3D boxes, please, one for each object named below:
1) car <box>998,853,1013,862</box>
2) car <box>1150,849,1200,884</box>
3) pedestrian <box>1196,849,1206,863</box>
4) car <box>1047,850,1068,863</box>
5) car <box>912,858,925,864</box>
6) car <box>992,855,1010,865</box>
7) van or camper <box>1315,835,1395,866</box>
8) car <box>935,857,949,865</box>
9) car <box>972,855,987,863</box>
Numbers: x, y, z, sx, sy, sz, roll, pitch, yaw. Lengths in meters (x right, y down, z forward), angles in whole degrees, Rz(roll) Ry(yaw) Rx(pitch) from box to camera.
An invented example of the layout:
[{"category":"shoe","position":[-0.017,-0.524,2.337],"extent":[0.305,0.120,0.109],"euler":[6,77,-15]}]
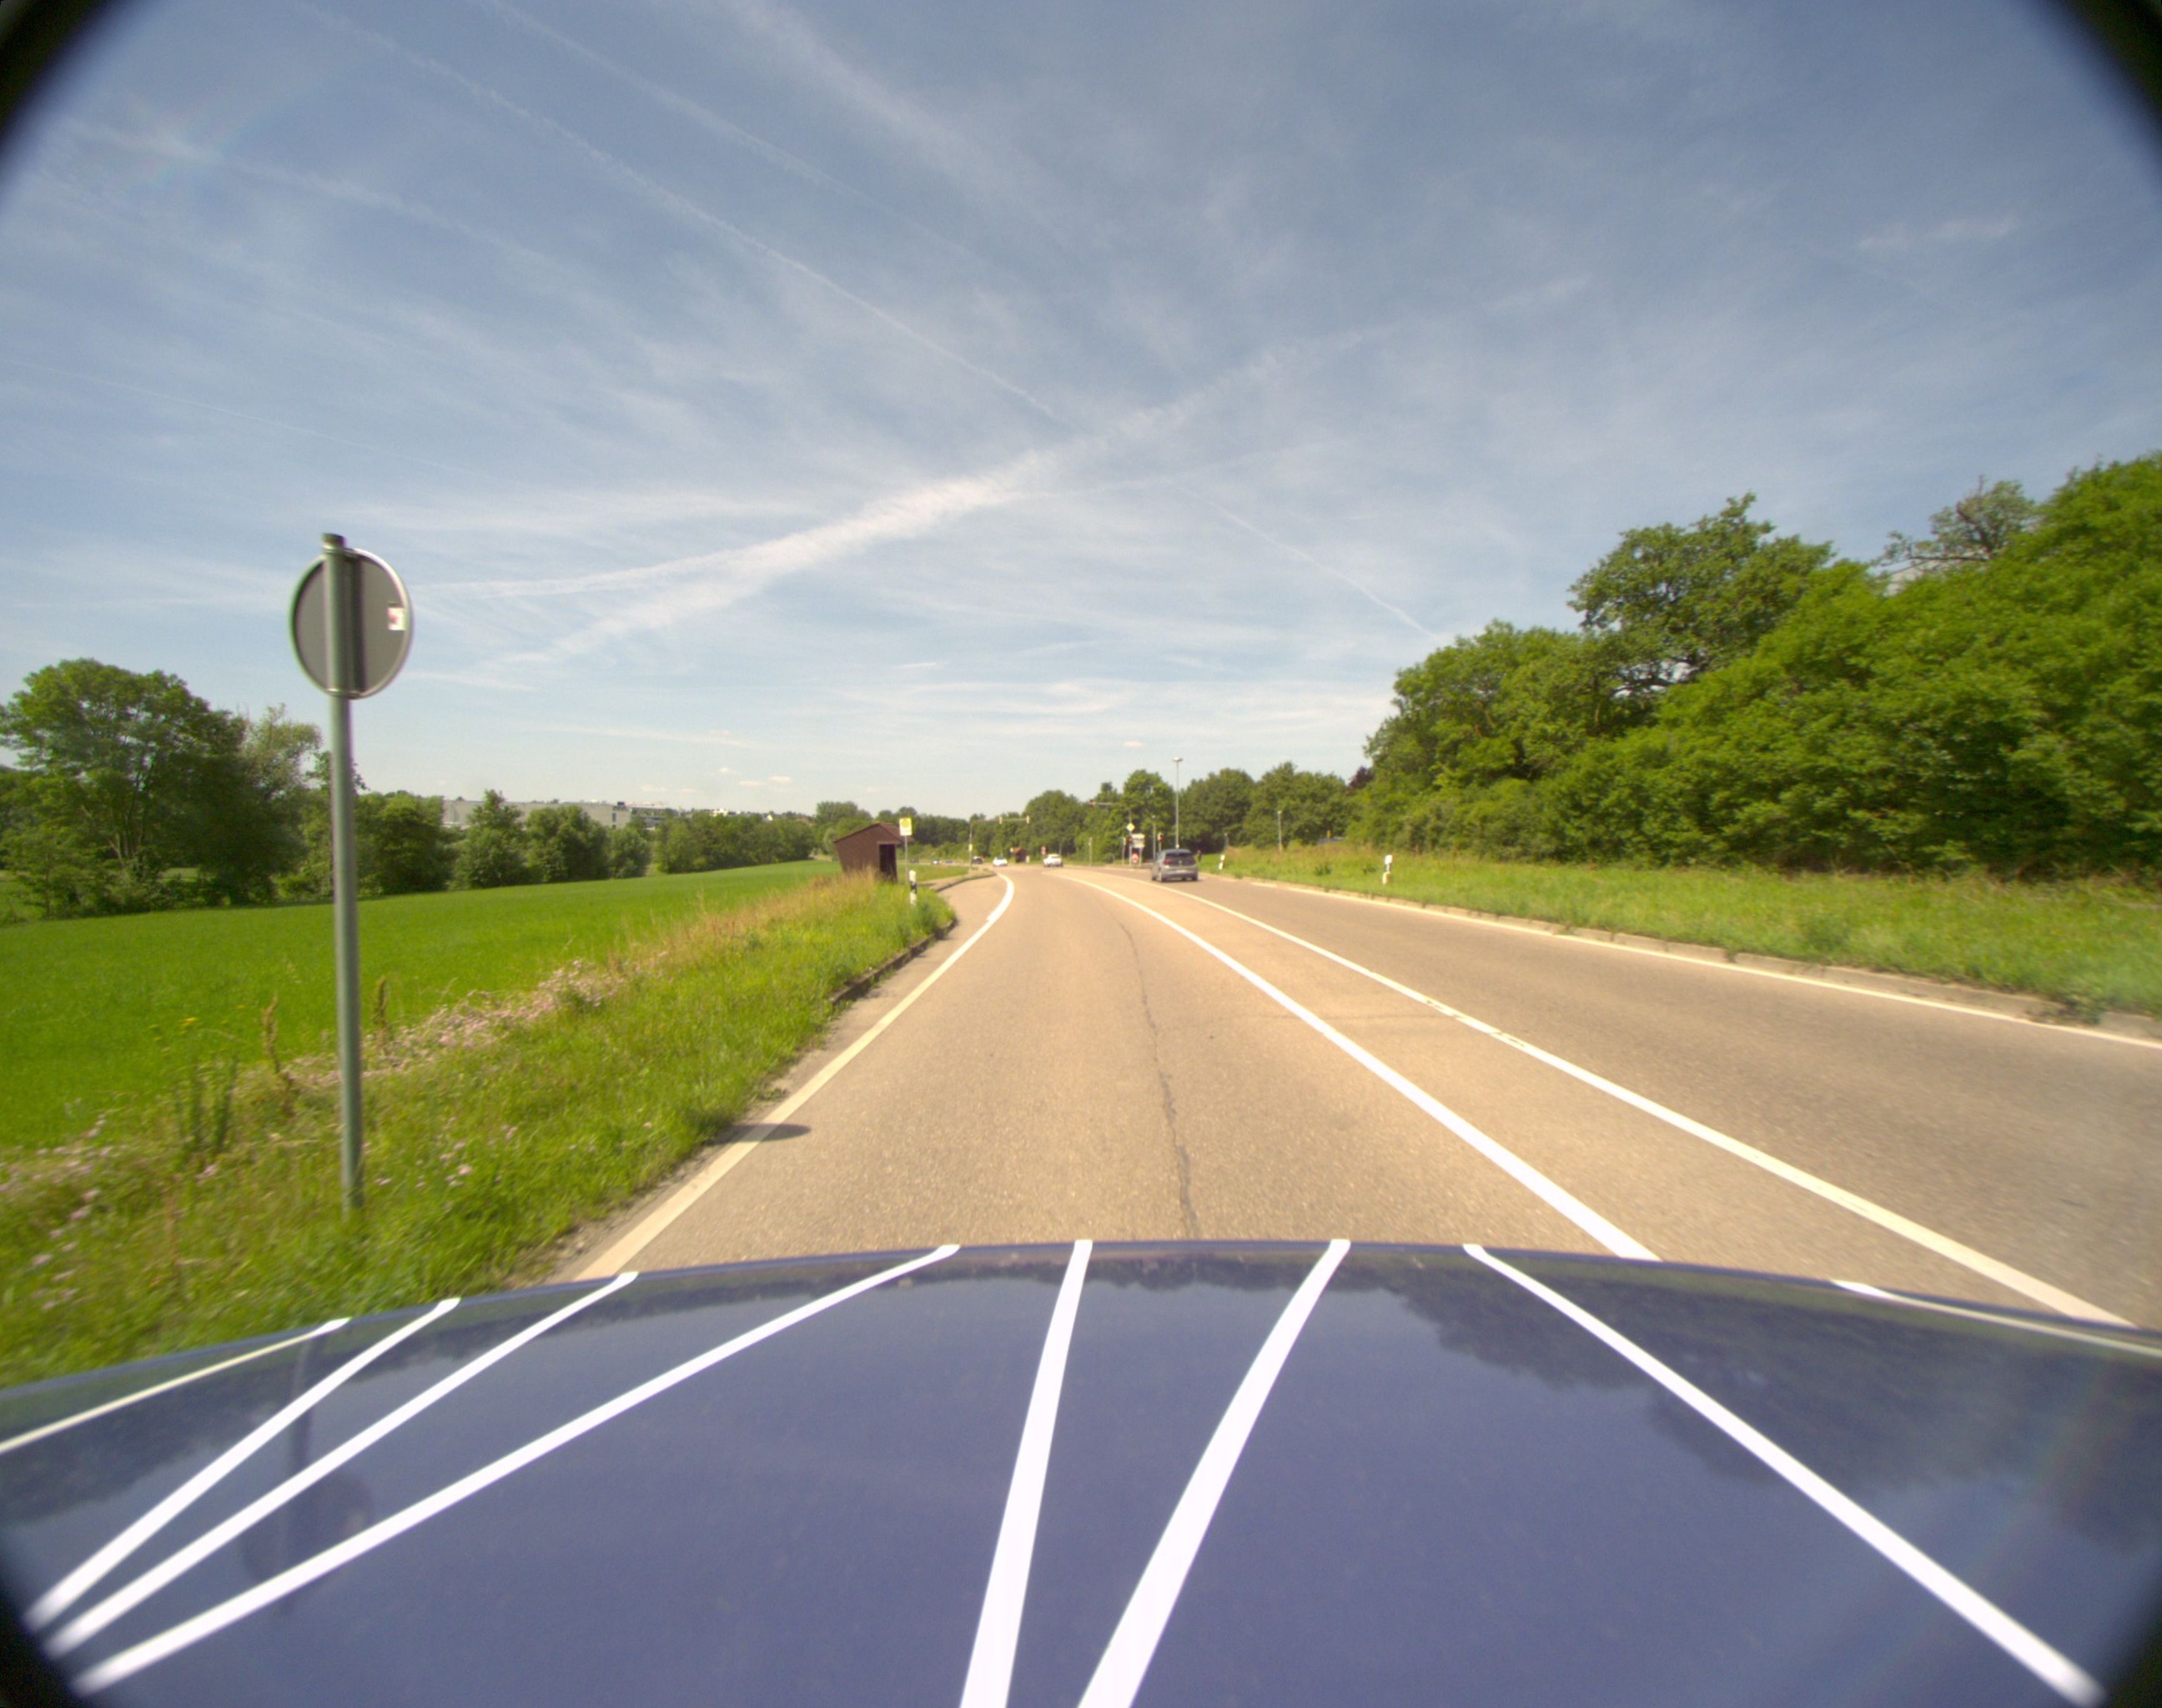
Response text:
[{"category":"car","position":[-13.760,0.701,137.612],"extent":[1.714,1.474,3.825],"euler":[-3,0,-21]},{"category":"car","position":[4.536,0.556,37.065],"extent":[1.759,1.526,4.227],"euler":[-3,0,-1]},{"category":"pedestrian","position":[15.716,0.219,99.320],"extent":[0.920,1.726,0.900],"euler":[-3,1,25]},{"category":"car","position":[-3.003,0.254,96.072],"extent":[1.944,1.539,4.623],"euler":[-3,1,-11]},{"category":"car","position":[-44.575,1.922,208.448],"extent":[1.800,1.465,4.300],"euler":[-3,0,-35]},{"category":"car","position":[-12.569,0.944,119.432],"extent":[2.001,1.576,3.994],"euler":[-3,0,-18]},{"category":"van or camper","position":[27.629,-0.354,76.831],"extent":[7.235,2.896,2.249],"euler":[1,-1,9]},{"category":"car","position":[-30.722,1.524,167.582],"extent":[2.002,1.576,3.992],"euler":[-3,0,-25]},{"category":"car","position":[-21.097,1.122,157.820],"extent":[1.982,1.553,4.182],"euler":[-3,0,-21]}]
